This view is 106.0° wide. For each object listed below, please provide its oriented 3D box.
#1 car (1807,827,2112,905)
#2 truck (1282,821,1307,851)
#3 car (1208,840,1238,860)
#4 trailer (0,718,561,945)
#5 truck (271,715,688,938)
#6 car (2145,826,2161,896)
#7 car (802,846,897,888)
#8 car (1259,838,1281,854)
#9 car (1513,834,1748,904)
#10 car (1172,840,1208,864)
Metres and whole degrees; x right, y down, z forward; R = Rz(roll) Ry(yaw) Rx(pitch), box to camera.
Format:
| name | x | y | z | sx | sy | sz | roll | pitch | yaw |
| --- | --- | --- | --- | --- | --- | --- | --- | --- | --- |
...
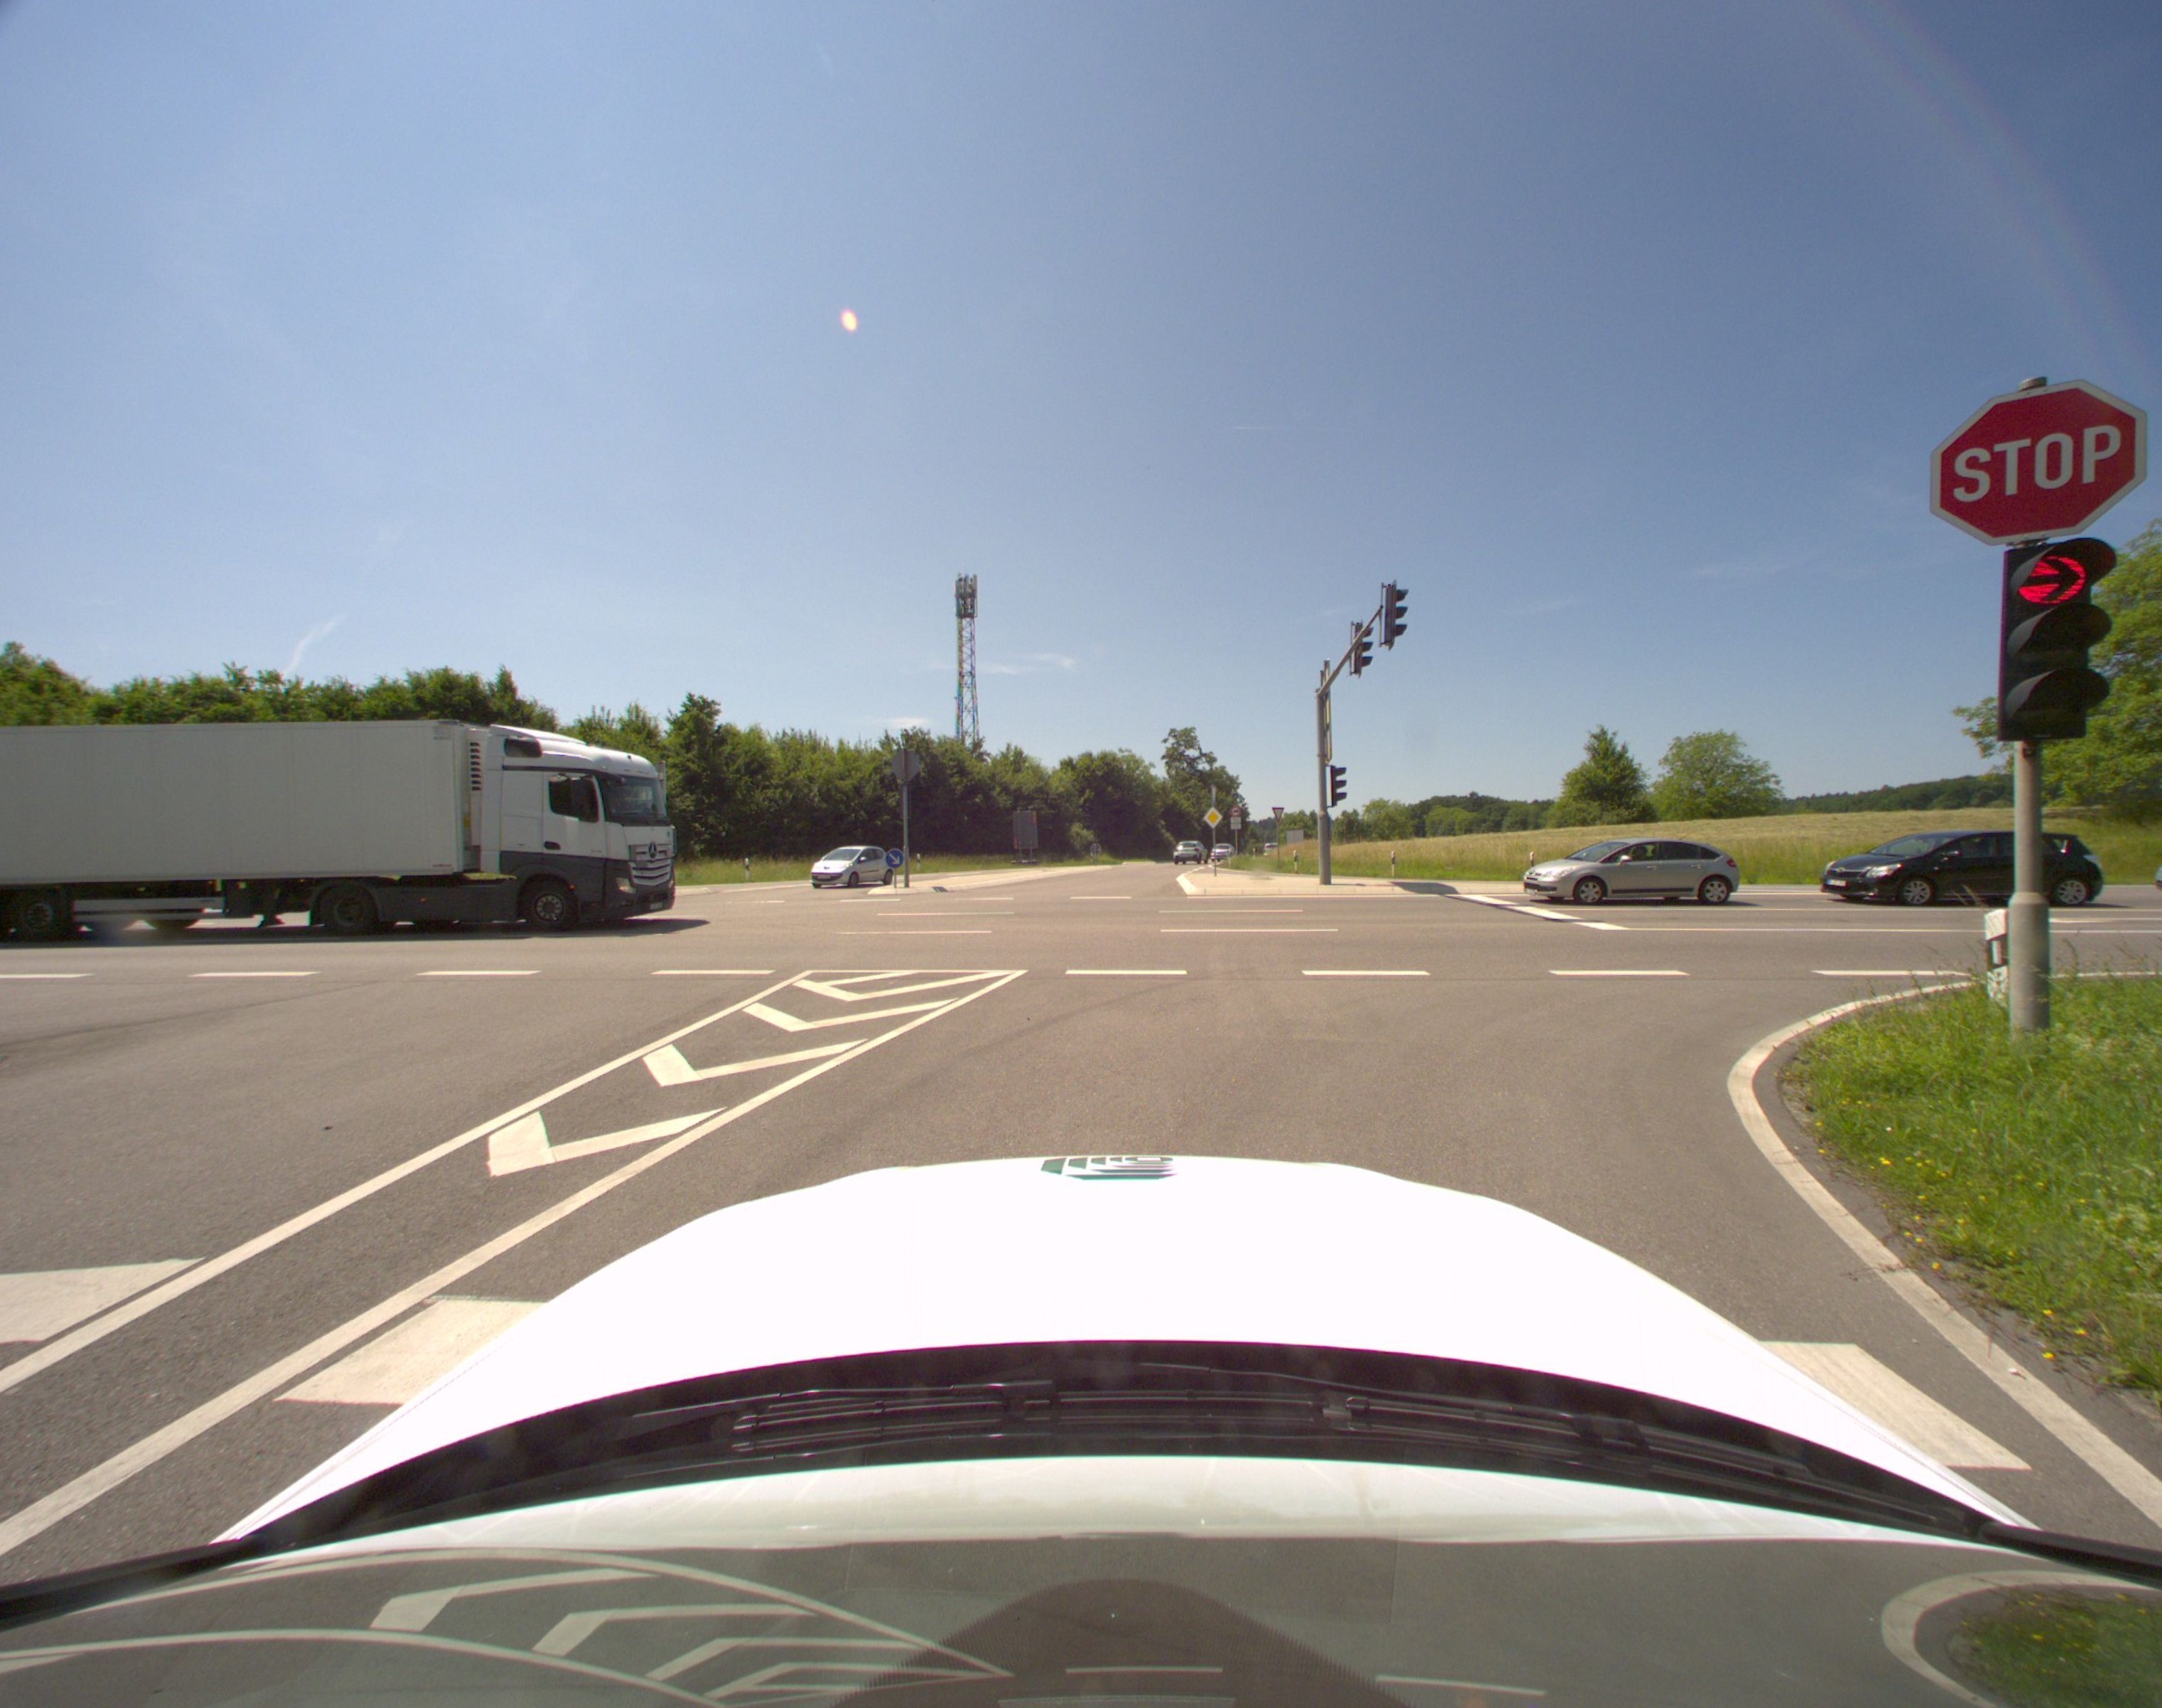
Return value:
| name | x | y | z | sx | sy | sz | roll | pitch | yaw |
| --- | --- | --- | --- | --- | --- | --- | --- | --- | --- |
| car | 18.758 | 0.229 | 17.604 | 4.342 | 1.553 | 1.734 | 0 | 2 | 9 |
| truck | 32.337 | -2.609 | 122.911 | 3.101 | 4.172 | 16.759 | -1 | 0 | 16 |
| car | 11.380 | -0.330 | 65.246 | 1.798 | 1.413 | 3.802 | -1 | 2 | 18 |
| trailer | -18.267 | -0.404 | 16.279 | 13.752 | 4.036 | 2.660 | -1 | 1 | -1 |
| truck | -11.775 | -0.546 | 16.447 | 6.242 | 4.036 | 2.660 | -1 | 1 | -1 |
| car | 25.879 | 0.168 | 17.266 | 3.984 | 1.553 | 1.660 | 0 | 2 | 9 |
| car | -8.271 | 0.436 | 29.430 | 1.552 | 1.370 | 3.548 | -1 | 1 | 18 |
| car | 20.589 | -0.888 | 88.740 | 1.797 | 1.624 | 4.081 | -1 | 1 | 20 |
| car | 12.355 | 0.308 | 18.545 | 4.135 | 1.469 | 1.733 | 0 | 2 | 6 |
| car | 7.132 | -0.153 | 52.956 | 1.716 | 1.404 | 4.004 | 0 | 2 | 16 |
